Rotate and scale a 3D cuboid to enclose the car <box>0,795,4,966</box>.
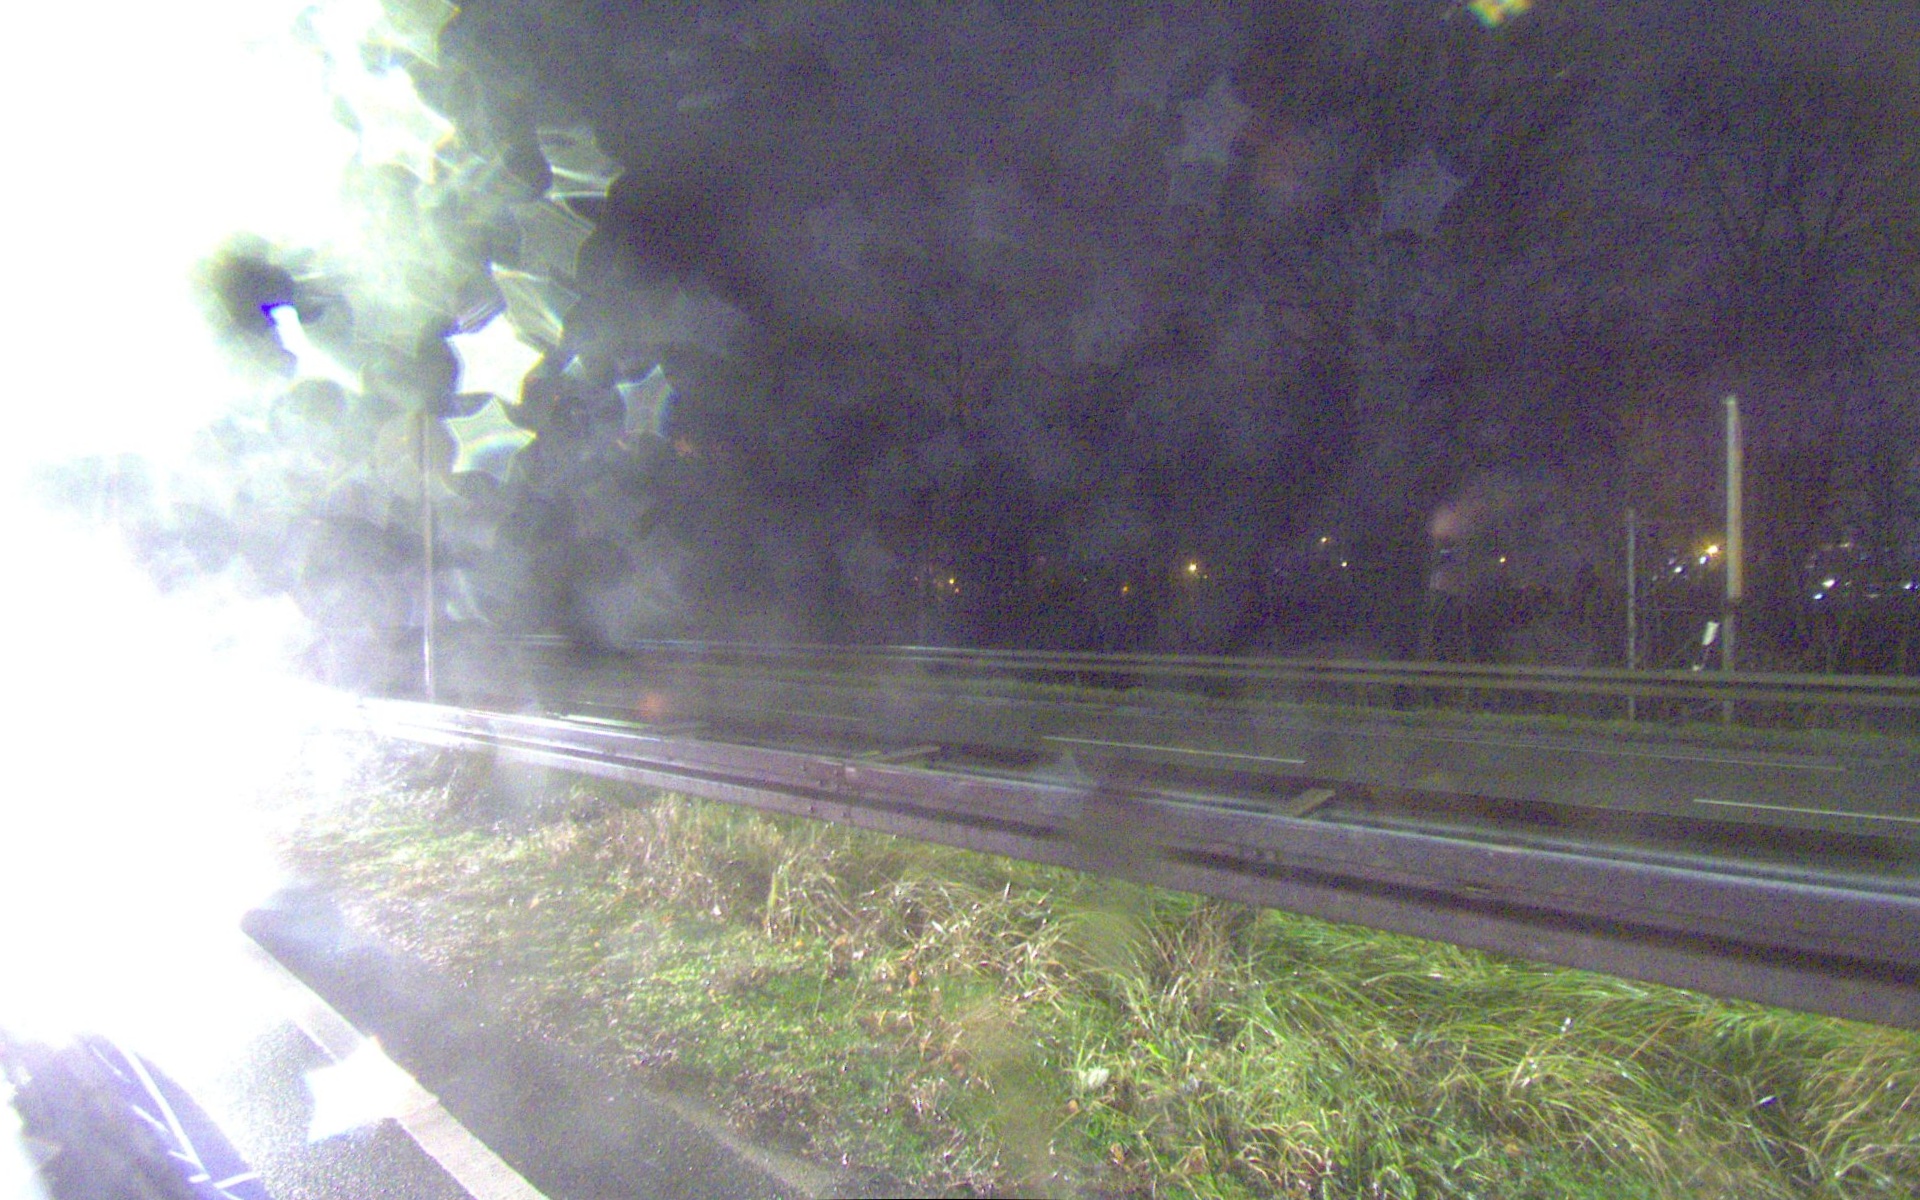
[{"bbox_3d":[-5.682,0.816,4.701,3.388,1.435,1.478,-1,0,41],"label":"car"}]
